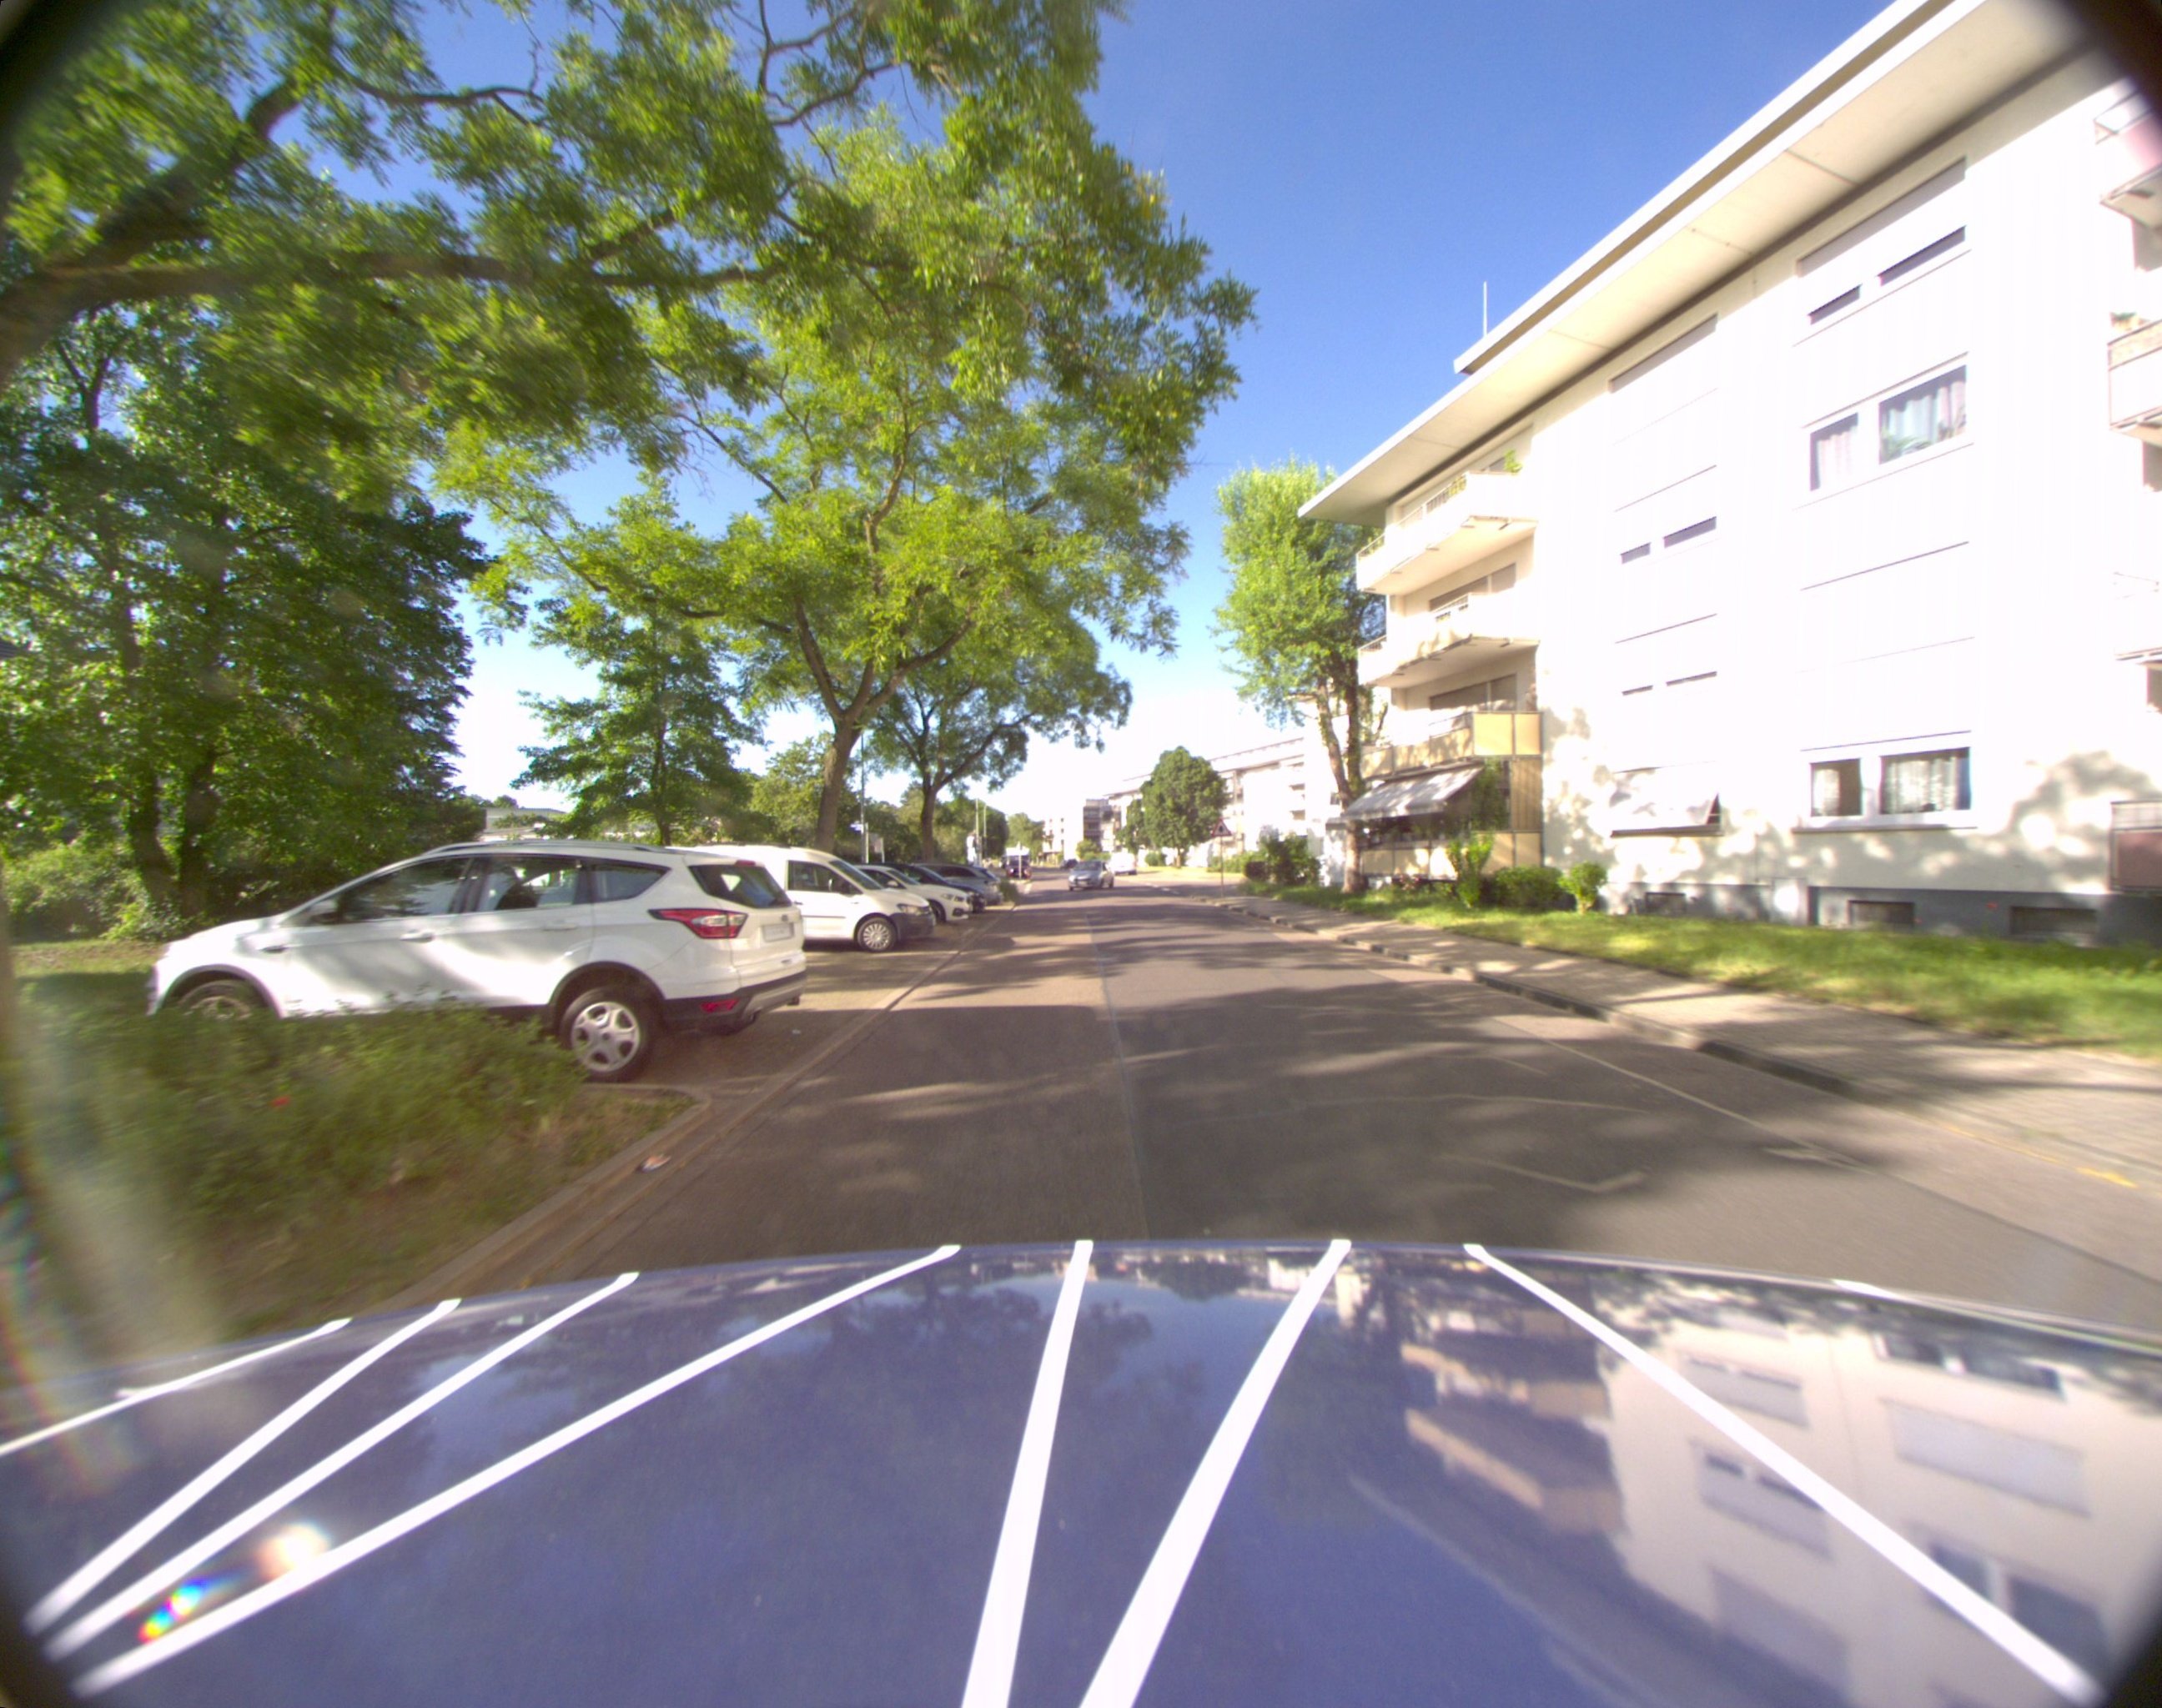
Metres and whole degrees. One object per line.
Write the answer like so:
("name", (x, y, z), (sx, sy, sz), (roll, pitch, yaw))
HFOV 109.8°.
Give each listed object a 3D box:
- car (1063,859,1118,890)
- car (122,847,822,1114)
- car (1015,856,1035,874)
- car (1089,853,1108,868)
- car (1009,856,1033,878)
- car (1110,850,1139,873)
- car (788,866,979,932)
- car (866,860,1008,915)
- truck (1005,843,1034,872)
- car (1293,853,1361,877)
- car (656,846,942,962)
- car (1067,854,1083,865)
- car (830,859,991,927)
("car", (0.521, 1.004, 38.500), (1.594, 1.417, 4.176), (2, 0, 18))
("car", (-4.362, 0.848, 5.943), (4.051, 1.754, 1.745), (-1, 0, 0))
("car", (-5.121, 0.990, 69.750), (1.694, 1.618, 4.050), (1, 0, -3))
("car", (1.951, 0.711, 85.445), (1.694, 1.661, 4.050), (-2, 0, -3))
("car", (-4.700, 1.029, 60.144), (1.773, 1.606, 4.050), (1, 0, -3))
("car", (3.760, 0.603, 66.599), (2.007, 1.837, 4.615), (-3, 0, -2))
("car", (-4.652, 1.042, 18.334), (4.150, 1.400, 1.745), (1, 0, -2))
("car", (-4.377, 1.015, 23.558), (4.052, 1.544, 1.745), (1, 0, -2))
("truck", (-6.386, 0.337, 80.045), (2.764, 2.785, 8.264), (1, 0, -3))
("car", (14.950, 0.674, 46.305), (3.725, 1.417, 1.534), (-1, 0, 6))
("car", (-4.826, 0.821, 13.542), (4.445, 1.910, 1.744), (0, 0, -5))
("car", (-0.878, 0.877, 114.215), (1.795, 1.535, 4.049), (-4, 0, -8))
("car", (-4.620, 1.043, 21.036), (4.052, 1.649, 1.745), (-2, 0, -2))
